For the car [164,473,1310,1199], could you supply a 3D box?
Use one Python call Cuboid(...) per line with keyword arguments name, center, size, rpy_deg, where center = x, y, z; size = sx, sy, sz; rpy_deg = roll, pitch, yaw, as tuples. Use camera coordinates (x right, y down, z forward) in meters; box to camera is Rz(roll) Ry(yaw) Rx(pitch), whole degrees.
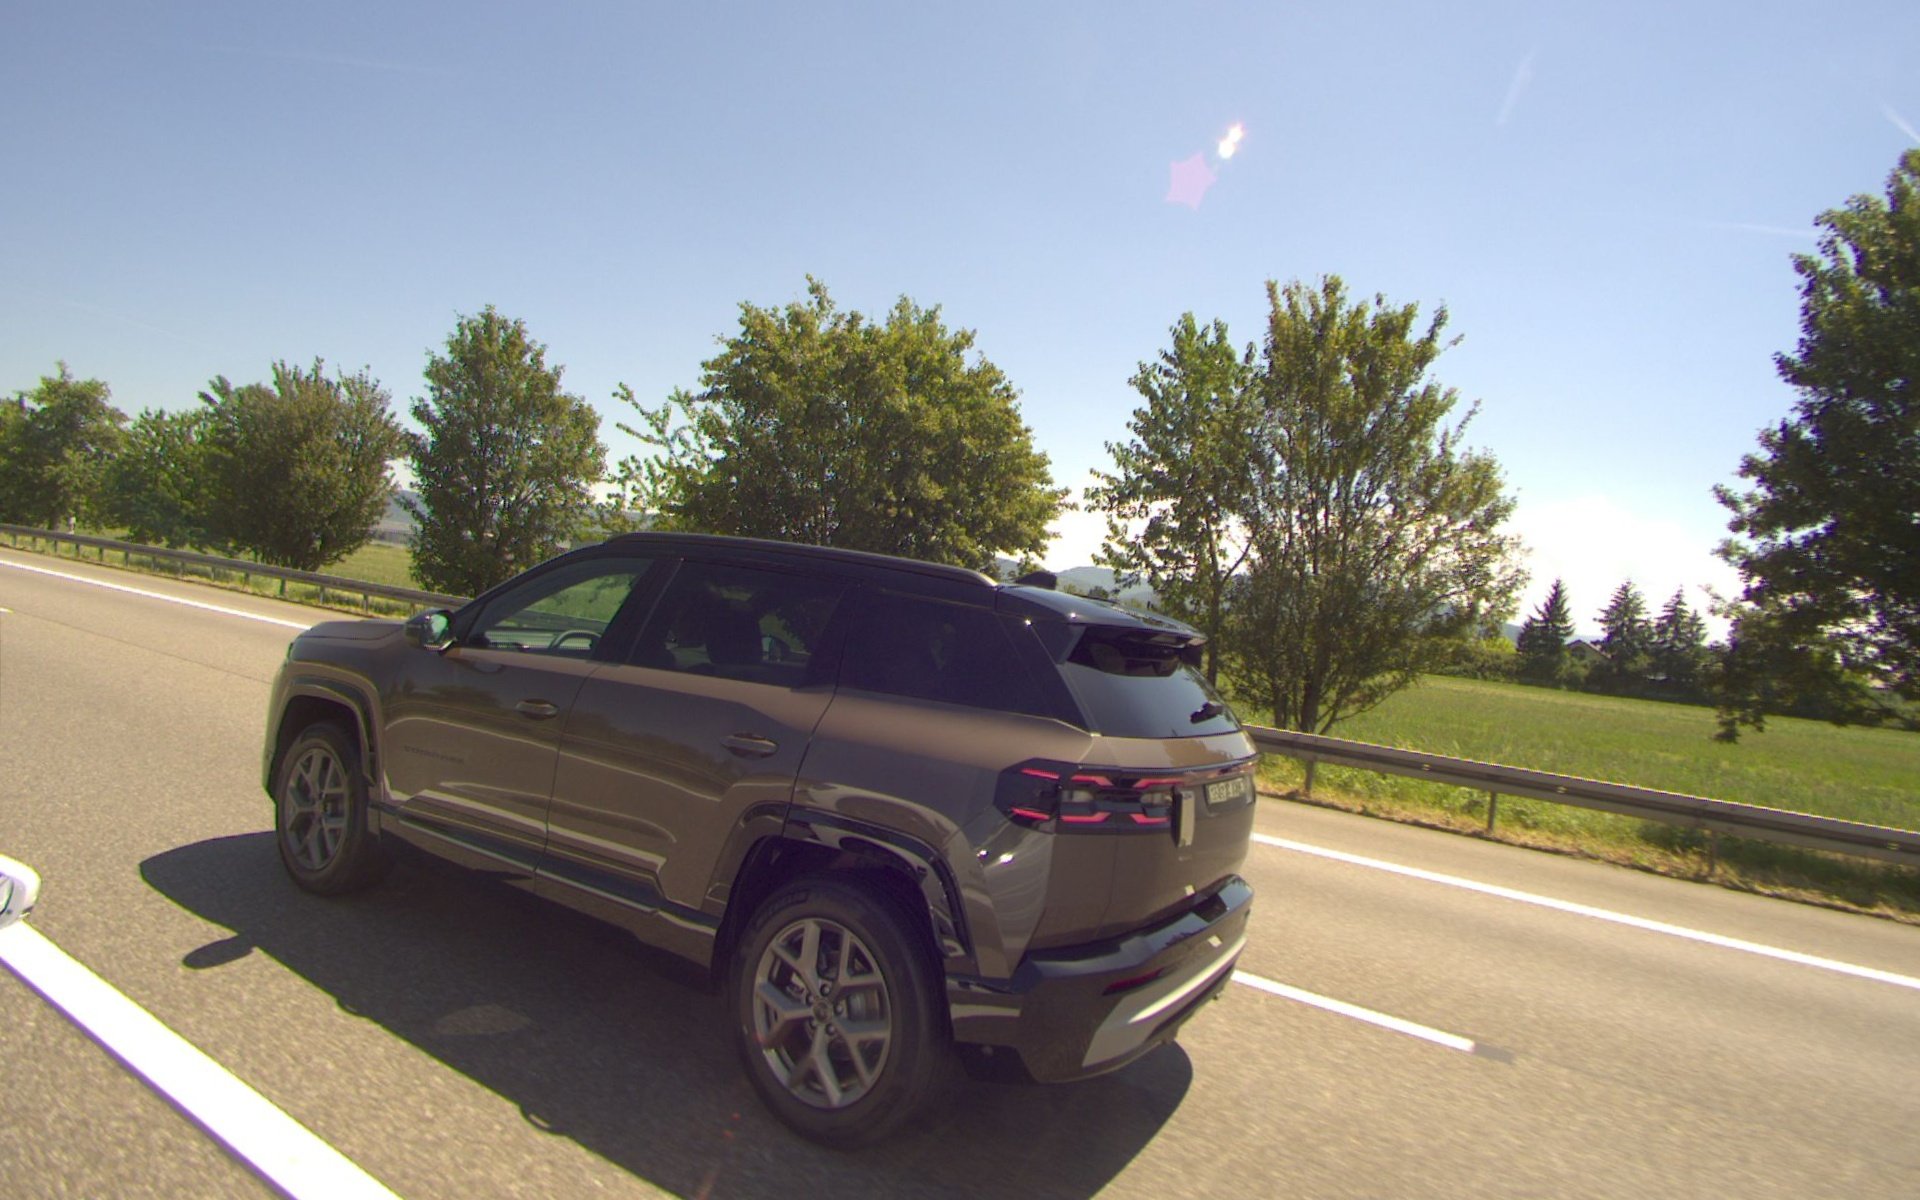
Cuboid(name="car", center=(-1.198, 0.544, 4.303), size=(4.668, 1.694, 1.870), rpy_deg=(6, -2, 32))
